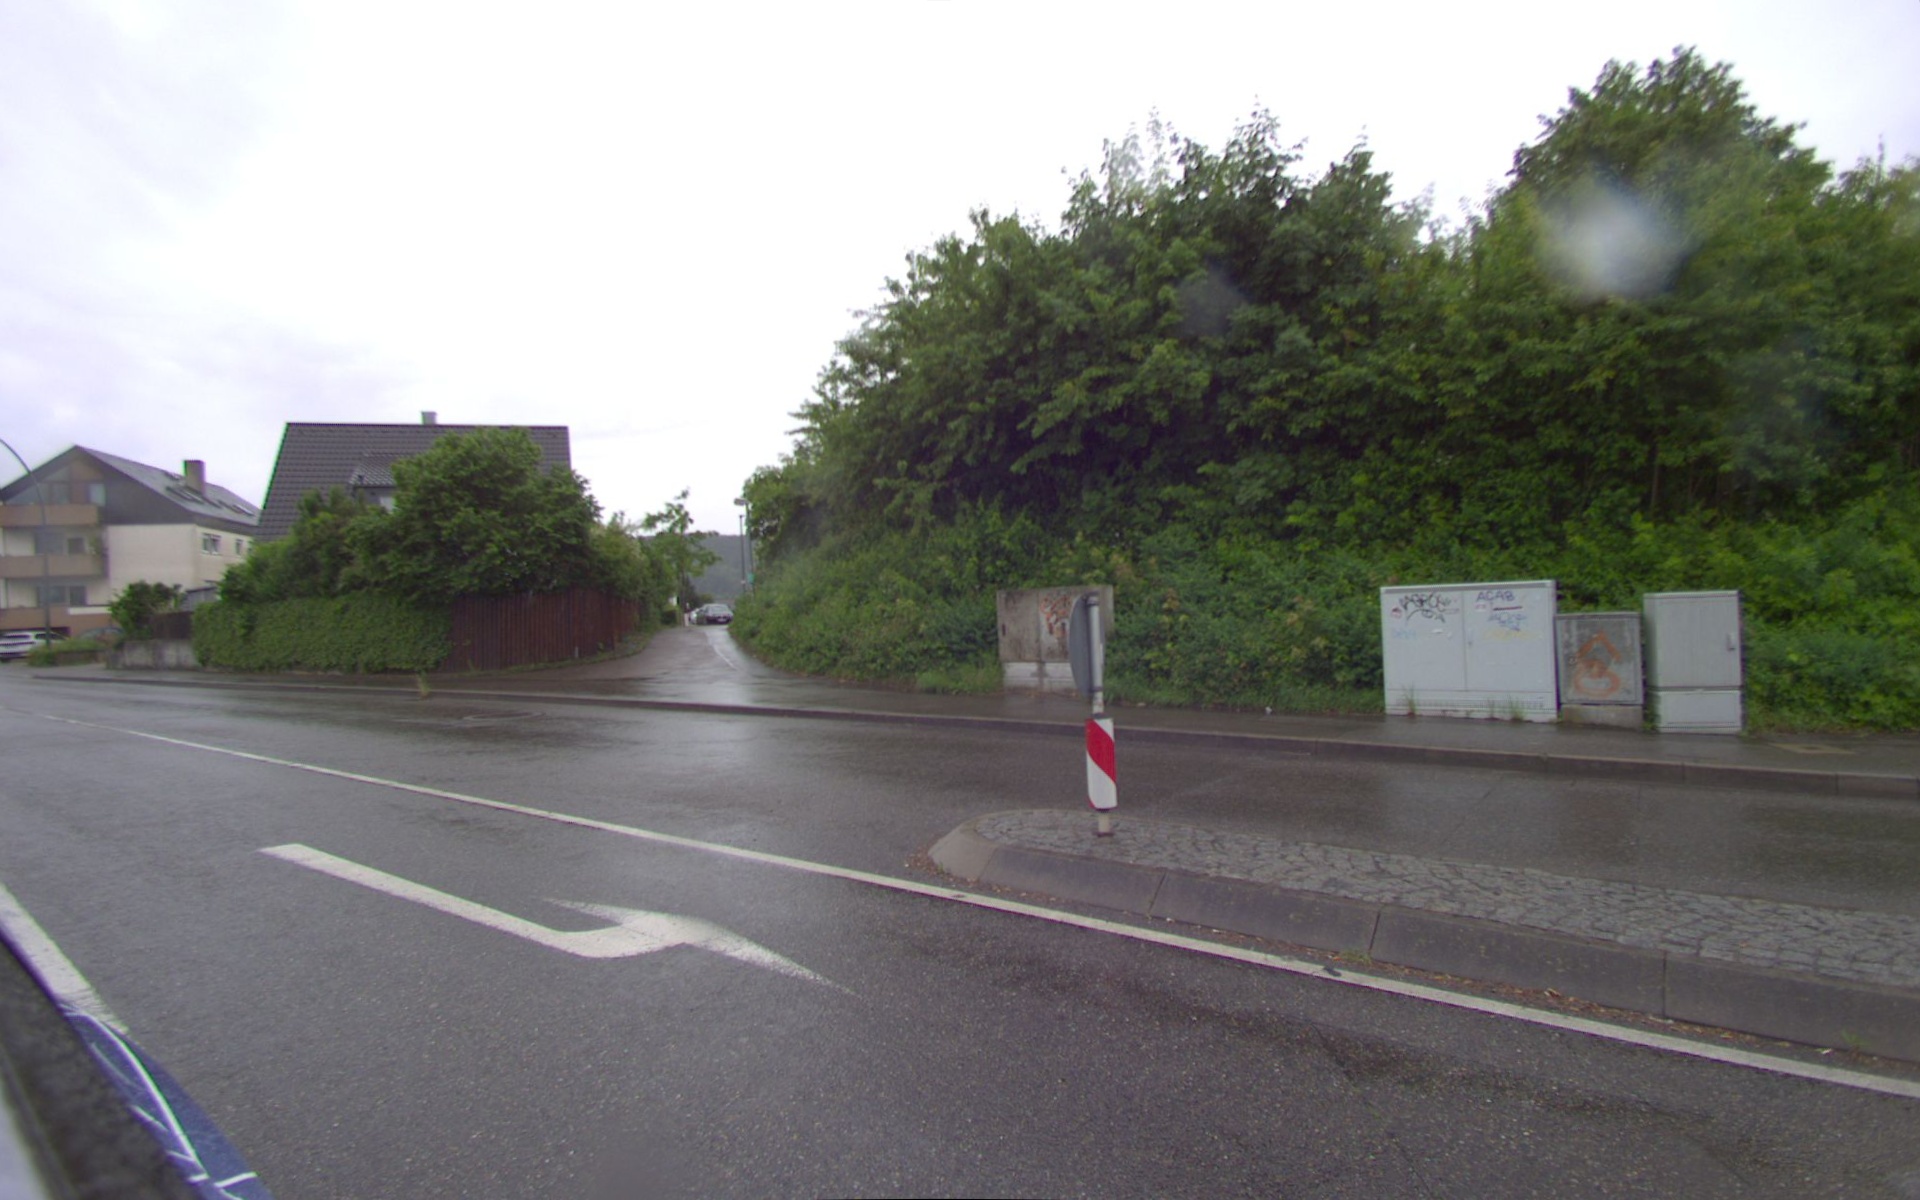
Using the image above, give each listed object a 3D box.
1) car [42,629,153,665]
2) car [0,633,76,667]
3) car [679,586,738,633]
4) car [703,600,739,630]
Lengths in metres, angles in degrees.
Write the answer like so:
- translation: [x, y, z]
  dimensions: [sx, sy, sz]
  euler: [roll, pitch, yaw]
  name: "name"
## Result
- translation: [-41.267, 2.231, 48.508]
  dimensions: [3.609, 1.530, 1.759]
  euler: [-2, 0, -15]
  name: "car"
- translation: [-46.801, 2.515, 51.049]
  dimensions: [1.837, 1.530, 4.012]
  euler: [-2, 0, -18]
  name: "car"
- translation: [-9.166, 0.347, 37.055]
  dimensions: [1.683, 1.600, 3.668]
  euler: [-1, 0, -8]
  name: "car"
- translation: [-15.578, 0.963, 66.177]
  dimensions: [1.968, 1.873, 4.008]
  euler: [-2, 0, -9]
  name: "car"
